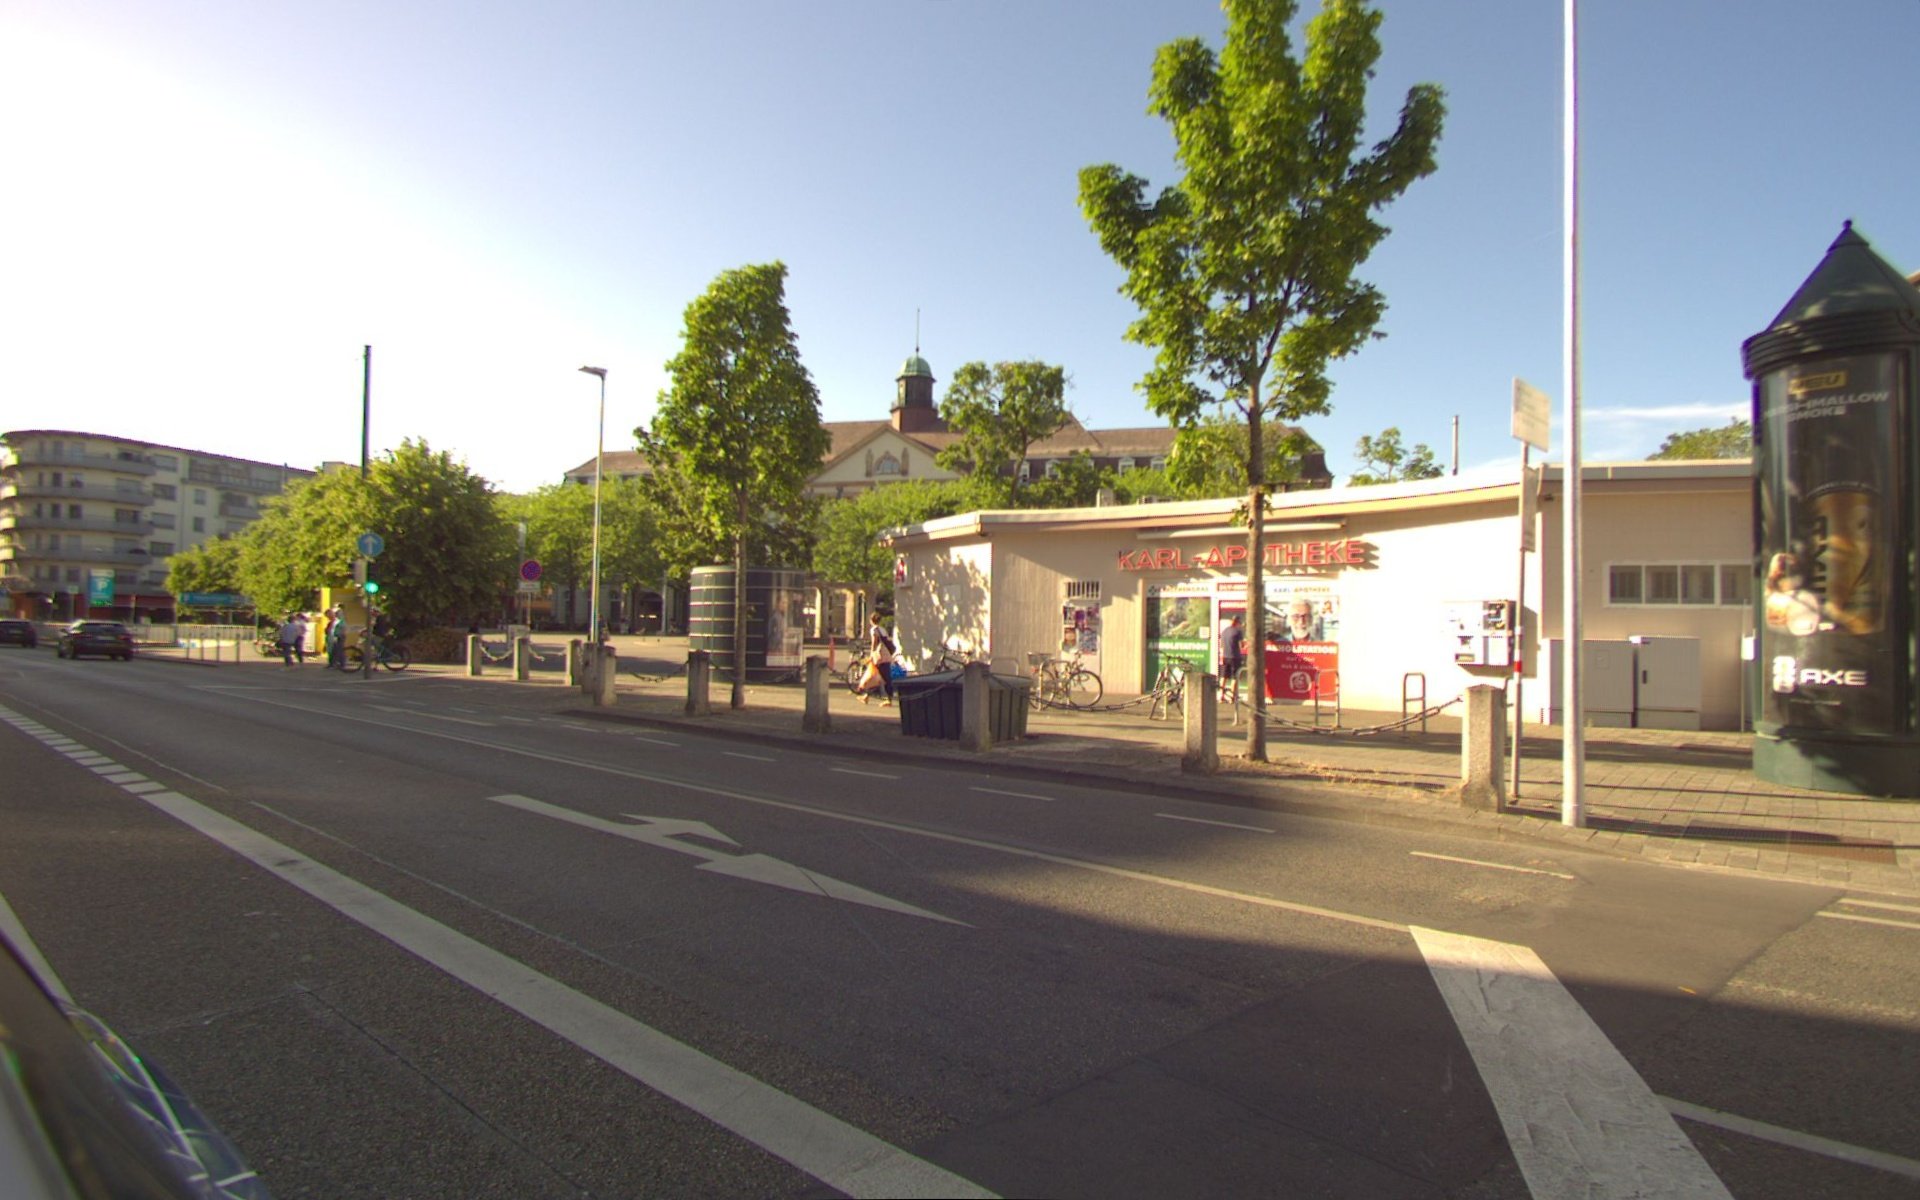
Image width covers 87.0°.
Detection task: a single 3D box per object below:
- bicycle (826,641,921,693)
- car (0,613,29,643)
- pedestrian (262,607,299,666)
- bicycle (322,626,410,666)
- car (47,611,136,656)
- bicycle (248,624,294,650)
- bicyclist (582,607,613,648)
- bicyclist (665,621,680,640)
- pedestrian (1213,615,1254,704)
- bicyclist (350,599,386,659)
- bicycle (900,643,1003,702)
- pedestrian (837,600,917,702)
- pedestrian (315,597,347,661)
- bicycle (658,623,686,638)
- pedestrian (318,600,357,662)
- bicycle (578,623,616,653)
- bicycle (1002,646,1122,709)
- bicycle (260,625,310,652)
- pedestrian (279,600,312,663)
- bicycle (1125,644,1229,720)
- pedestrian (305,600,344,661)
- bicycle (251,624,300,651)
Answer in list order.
[{"bbox_3d":[-1.763,1.354,20.880,1.861,1.010,0.766,2,-2,-41],"label":"bicycle"},{"bbox_3d":[-48.313,1.378,50.731,4.249,1.434,1.732,0,-2,39],"label":"car"},{"bbox_3d":[-19.976,1.069,29.767,0.676,1.686,0.699,1,-2,-18],"label":"pedestrian"},{"bbox_3d":[-16.924,1.291,28.902,2.138,1.080,0.766,1,-1,-28],"label":"bicycle"},{"bbox_3d":[-31.293,1.187,36.434,4.039,1.408,1.634,0,-6,40],"label":"car"},{"bbox_3d":[-27.872,1.501,40.942,1.506,1.039,0.365,2,-2,-34],"label":"bicycle"},{"bbox_3d":[-14.571,1.109,40.628,0.927,1.621,1.173,2,-2,-31],"label":"bicyclist"},{"bbox_3d":[-22.784,2.404,80.224,0.938,1.483,0.648,2,-2,-43],"label":"bicyclist"},{"bbox_3d":[5.381,1.162,19.915,0.611,1.722,0.514,-1,-3,41],"label":"pedestrian"},{"bbox_3d":[-16.891,0.830,28.893,0.791,1.661,0.997,1,-1,-27],"label":"bicyclist"},{"bbox_3d":[-0.145,1.326,18.821,1.861,1.010,0.766,2,-2,-41],"label":"bicycle"},{"bbox_3d":[-1.446,0.868,17.681,1.083,1.711,0.892,-1,-2,35],"label":"pedestrian"},{"bbox_3d":[-19.402,0.888,31.226,0.784,1.933,0.601,-1,-2,43],"label":"pedestrian"},{"bbox_3d":[-22.822,2.412,80.178,2.093,1.112,0.697,2,-2,-45],"label":"bicycle"},{"bbox_3d":[-18.463,0.918,30.029,0.776,1.825,0.586,0,-2,15],"label":"pedestrian"},{"bbox_3d":[-14.596,1.507,40.651,0.927,1.141,2.486,2,-2,-31],"label":"bicycle"},{"bbox_3d":[1.791,1.328,17.717,1.985,1.010,0.890,2,-2,-35],"label":"bicycle"},{"bbox_3d":[-26.456,1.503,39.681,0.364,1.010,1.539,-1,-2,40],"label":"bicycle"},{"bbox_3d":[-20.060,0.938,30.551,0.640,1.871,0.626,1,-2,-18],"label":"pedestrian"},{"bbox_3d":[3.489,1.271,16.175,0.753,1.096,1.967,-1,-2,42],"label":"bicycle"},{"bbox_3d":[-19.139,0.921,30.473,0.772,1.825,0.590,1,-2,-3],"label":"pedestrian"},{"bbox_3d":[-26.946,1.486,39.853,0.364,1.039,1.529,-1,-2,40],"label":"bicycle"}]
